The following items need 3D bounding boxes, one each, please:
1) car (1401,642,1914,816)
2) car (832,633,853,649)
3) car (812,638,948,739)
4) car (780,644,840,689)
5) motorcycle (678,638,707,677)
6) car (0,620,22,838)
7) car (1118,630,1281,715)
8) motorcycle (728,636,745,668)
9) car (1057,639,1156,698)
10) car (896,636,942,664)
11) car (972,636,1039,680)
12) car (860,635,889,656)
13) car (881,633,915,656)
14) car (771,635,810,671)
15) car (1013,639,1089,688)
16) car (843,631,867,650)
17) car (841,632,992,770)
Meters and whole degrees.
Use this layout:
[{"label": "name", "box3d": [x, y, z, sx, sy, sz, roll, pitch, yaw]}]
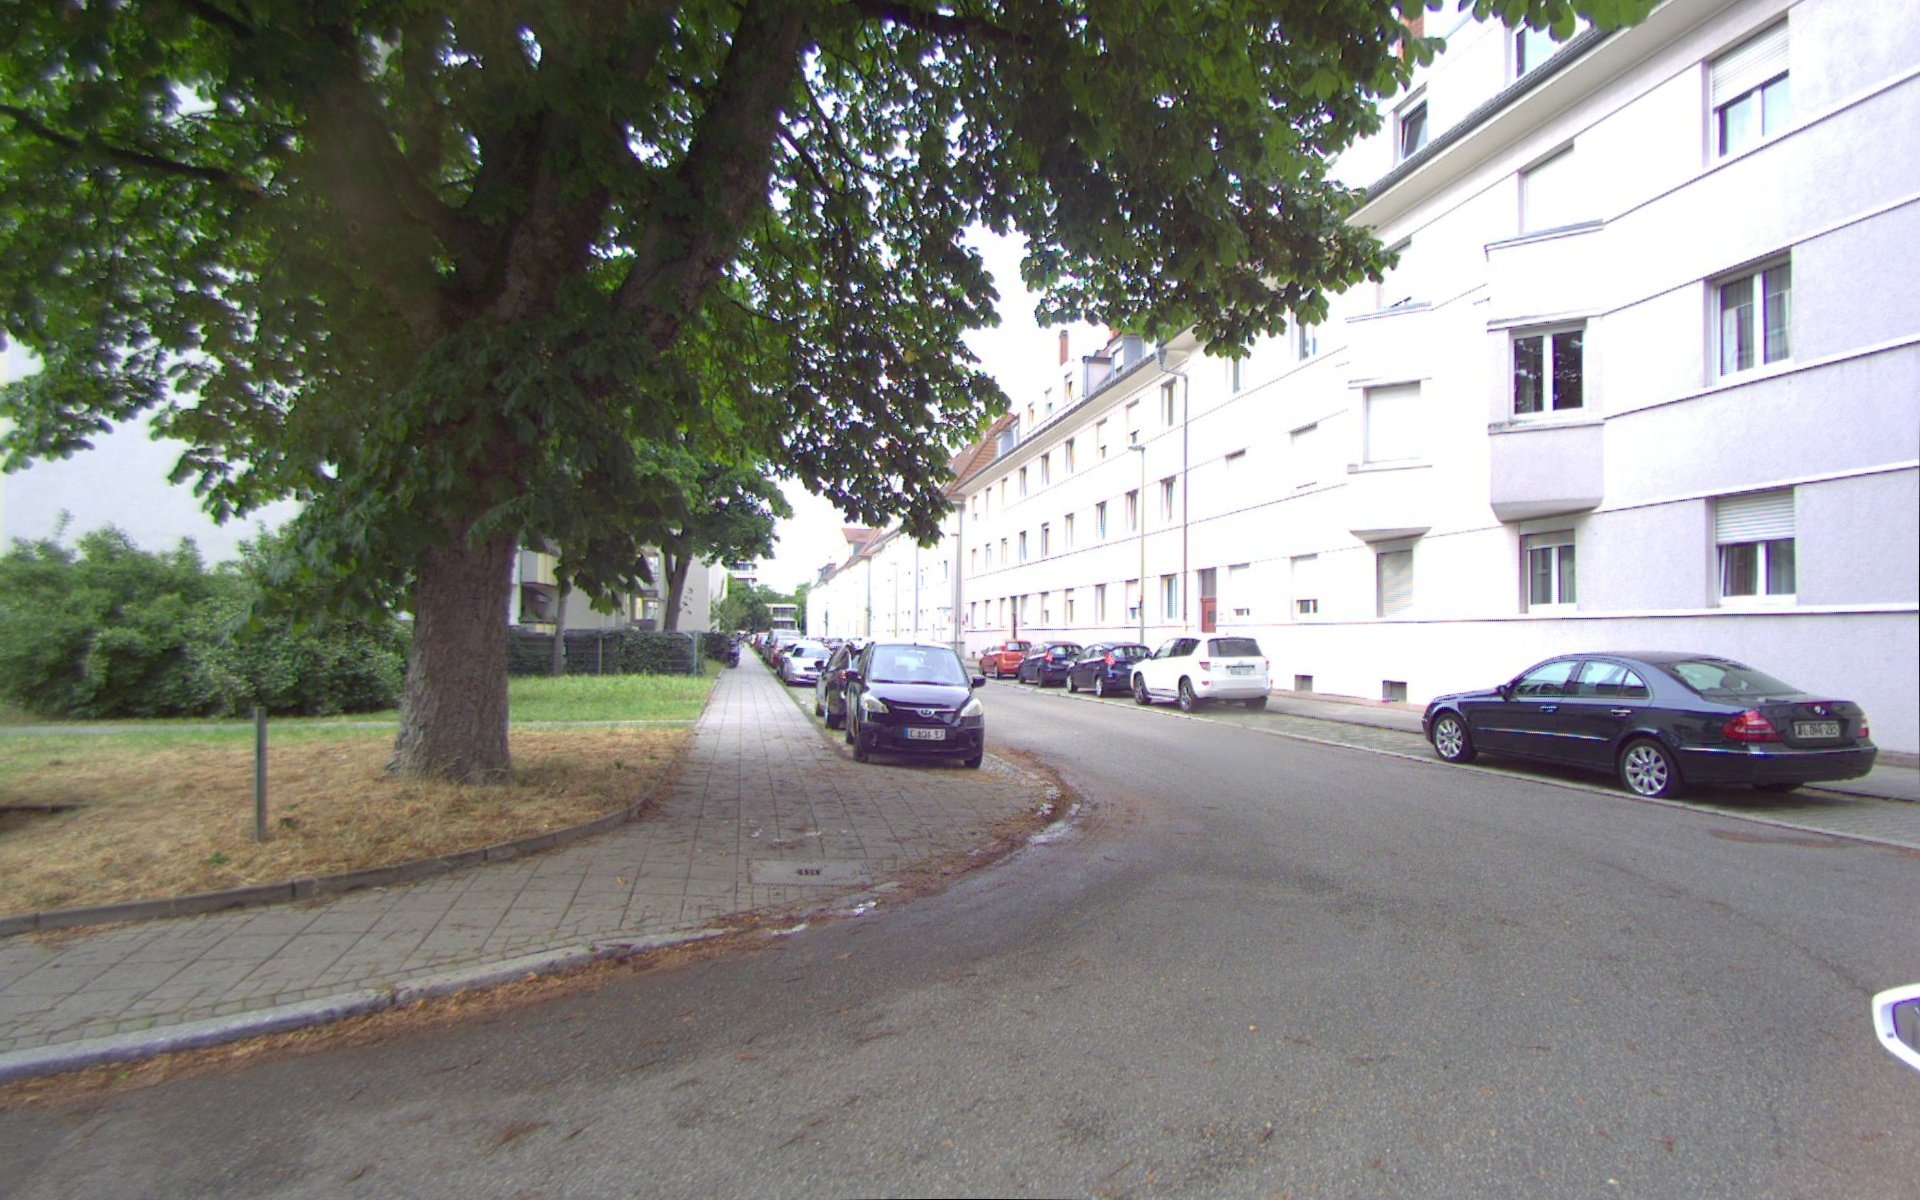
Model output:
[{"label": "car", "box3d": [7.407, 1.246, 11.477, 1.721, 1.439, 4.937, 0, -1, -13]}, {"label": "car", "box3d": [-12.517, 4.371, 106.883, 1.794, 1.597, 3.875, 1, -2, -12]}, {"label": "car", "box3d": [-1.584, 1.489, 18.131, 1.841, 1.483, 4.825, 3, -2, -11]}, {"label": "car", "box3d": [-4.976, 2.148, 32.968, 1.672, 1.275, 4.007, 3, -2, -12]}, {"label": "motorcycle", "box3d": [-9.112, 1.925, 34.347, 0.671, 1.239, 3.061, 2, -2, -10]}, {"label": "car", "box3d": [-7.623, 0.881, 5.486, 1.798, 1.598, 3.836, 0, -2, -10]}, {"label": "car", "box3d": [5.273, 1.534, 22.722, 1.817, 1.696, 4.278, 0, -1, -14]}, {"label": "motorcycle", "box3d": [-9.927, 2.305, 44.696, 0.668, 1.373, 2.224, 3, -2, -12]}, {"label": "car", "box3d": [4.003, 1.840, 28.019, 1.544, 1.498, 3.863, 0, -2, -11]}, {"label": "car", "box3d": [-2.389, 2.818, 57.076, 1.731, 1.487, 4.589, 2, -2, -13]}, {"label": "car", "box3d": [1.697, 2.195, 38.541, 1.672, 1.545, 3.818, 0, -2, -12]}, {"label": "car", "box3d": [-6.711, 3.552, 78.789, 1.794, 1.524, 3.744, 1, -2, -12]}, {"label": "car", "box3d": [-4.167, 2.919, 67.157, 1.646, 1.439, 3.990, -1, -1, -13]}, {"label": "car", "box3d": [-8.160, 2.514, 48.084, 1.542, 1.589, 3.633, 3, -2, -13]}, {"label": "car", "box3d": [2.957, 2.046, 33.203, 1.544, 1.493, 3.689, 0, -2, -11]}, {"label": "car", "box3d": [-9.472, 3.647, 90.476, 1.794, 1.597, 3.744, 1, -2, -12]}, {"label": "car", "box3d": [-0.692, 1.212, 13.178, 1.502, 1.513, 3.586, 3, -2, -9]}]
